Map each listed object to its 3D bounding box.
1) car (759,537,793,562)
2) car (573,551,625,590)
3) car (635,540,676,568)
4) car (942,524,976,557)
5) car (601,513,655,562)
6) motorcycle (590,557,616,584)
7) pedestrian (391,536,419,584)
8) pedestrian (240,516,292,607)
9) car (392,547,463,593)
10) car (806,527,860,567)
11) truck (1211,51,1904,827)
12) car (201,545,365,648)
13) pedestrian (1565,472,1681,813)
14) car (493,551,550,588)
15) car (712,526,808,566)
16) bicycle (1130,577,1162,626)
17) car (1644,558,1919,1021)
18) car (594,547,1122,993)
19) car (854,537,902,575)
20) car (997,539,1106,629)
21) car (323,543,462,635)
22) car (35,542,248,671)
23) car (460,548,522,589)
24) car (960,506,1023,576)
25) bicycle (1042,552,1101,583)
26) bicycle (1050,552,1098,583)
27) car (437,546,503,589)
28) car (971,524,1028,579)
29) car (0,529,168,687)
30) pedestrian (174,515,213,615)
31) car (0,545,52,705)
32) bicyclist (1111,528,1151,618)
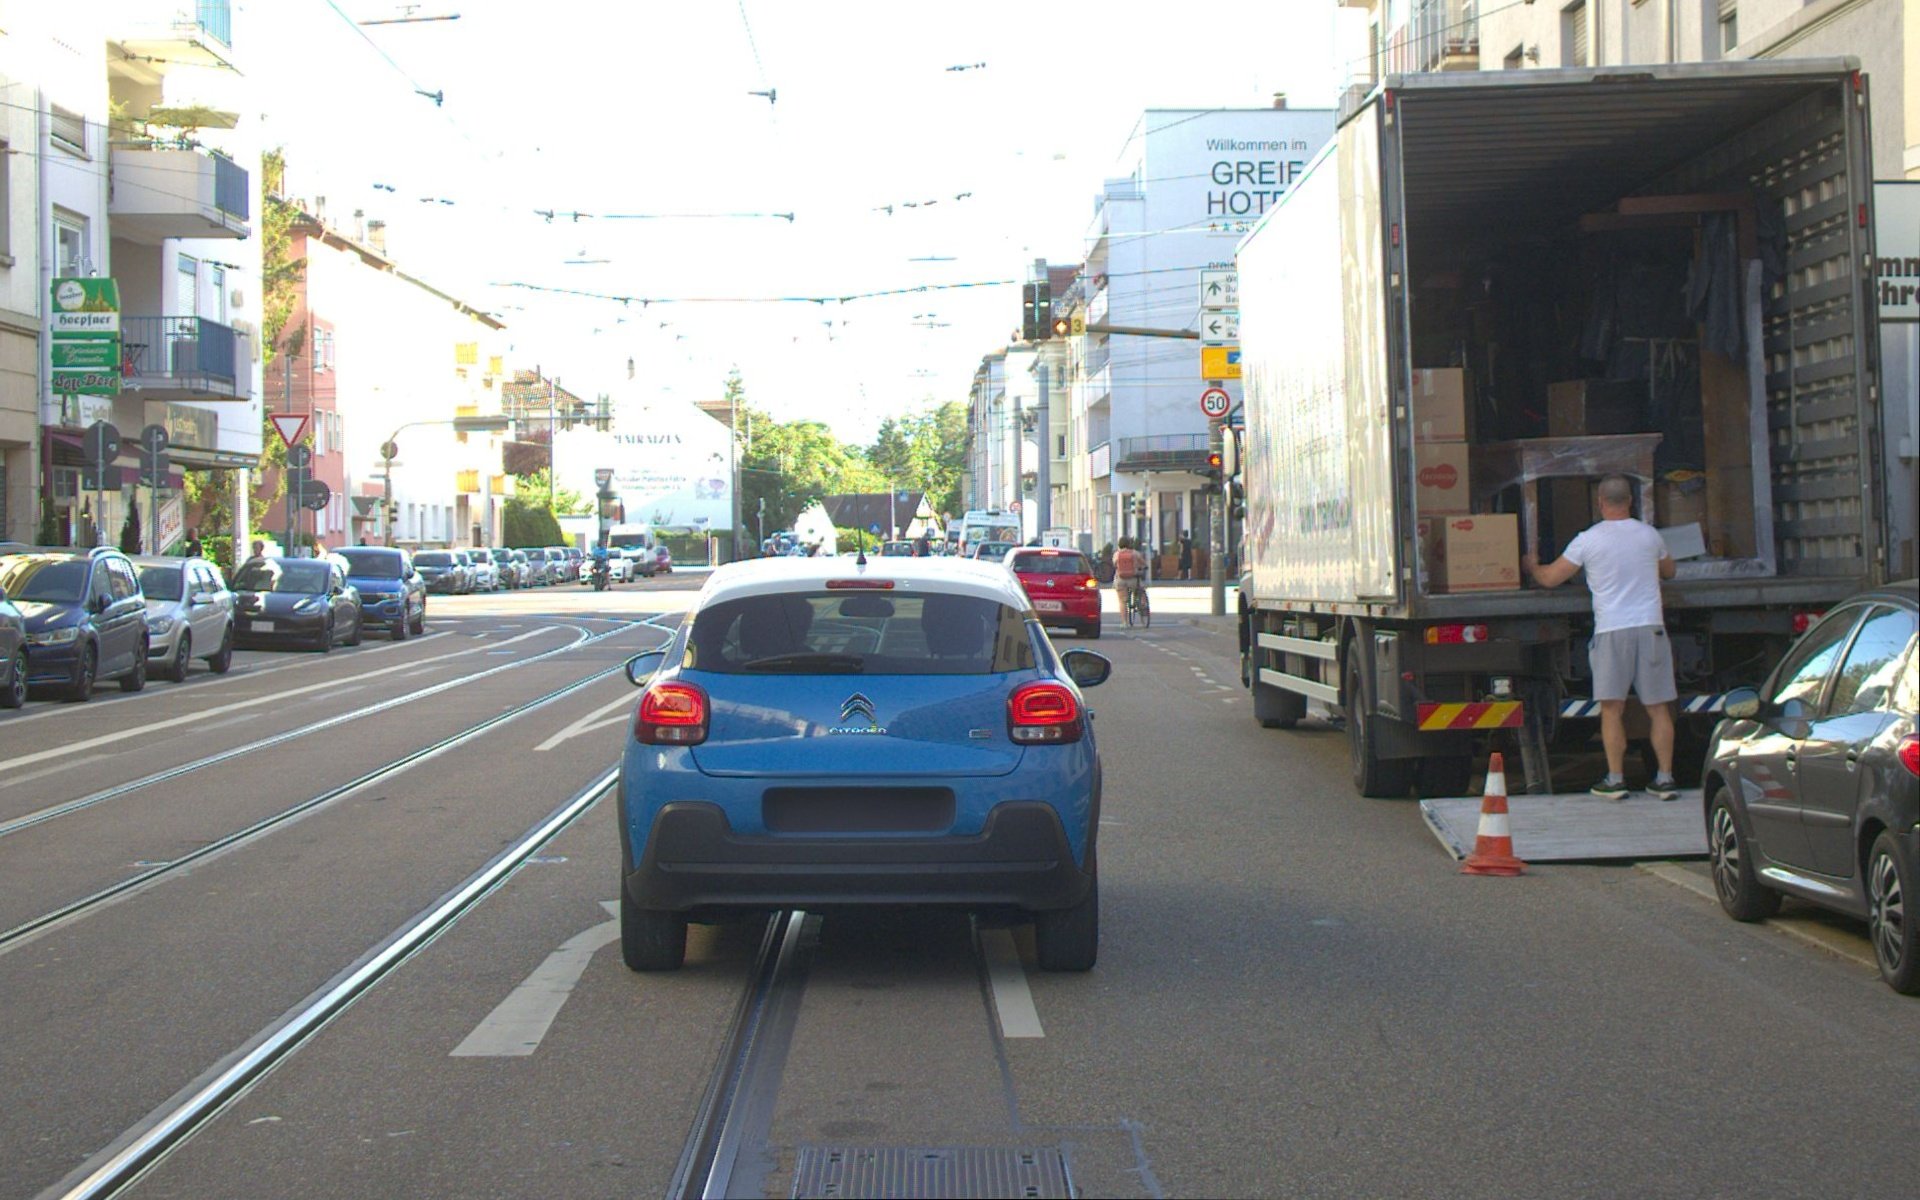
[{"bbox_3d":[-11.405,-3.119,213.591,2.021,1.520,4.000,0,1,-2],"label":"car"},{"bbox_3d":[-14.922,-1.249,142.386,1.849,1.568,4.401,0,1,-2],"label":"car"},{"bbox_3d":[-16.725,-2.557,189.085,2.021,1.520,4.000,0,1,-2],"label":"car"},{"bbox_3d":[-0.042,-3.022,175.107,1.689,1.612,4.000,1,1,0],"label":"car"},{"bbox_3d":[-15.763,-2.973,163.386,2.207,2.243,4.677,0,1,-1],"label":"car"},{"bbox_3d":[-11.563,-0.959,111.358,0.615,0.861,1.671,0,1,3],"label":"motorcycle"},{"bbox_3d":[-19.751,-1.434,122.328,0.844,1.684,0.737,0,1,5],"label":"pedestrian"},{"bbox_3d":[-11.961,-0.669,59.253,0.697,1.543,0.721,0,2,3],"label":"pedestrian"},{"bbox_3d":[-17.516,-0.999,113.213,1.911,1.428,4.001,-1,1,-3],"label":"car"},{"bbox_3d":[-4.952,-2.085,134.453,1.993,1.503,4.000,0,1,-1],"label":"car"},{"bbox_3d":[3.588,-0.963,24.062,2.860,4.059,11.779,-1,1,1],"label":"truck"},{"bbox_3d":[-10.476,-0.064,53.446,1.699,1.504,4.312,1,0,0],"label":"car"},{"bbox_3d":[3.491,0.217,18.115,0.512,1.769,0.416,-1,1,0],"label":"pedestrian"},{"bbox_3d":[-18.110,-1.278,142.123,1.911,1.492,4.000,0,1,-2],"label":"car"},{"bbox_3d":[-8.284,-2.232,141.987,1.809,1.634,3.998,-2,1,-43],"label":"car"},{"bbox_3d":[3.433,0.024,63.457,0.498,0.861,1.749,0,1,0],"label":"bicycle"},{"bbox_3d":[3.864,0.594,13.141,1.582,1.458,3.881,-2,1,-2],"label":"car"},{"bbox_3d":[-0.463,0.542,13.494,1.743,1.457,4.001,1,1,-4],"label":"car"},{"bbox_3d":[-3.521,-1.906,148.253,1.993,1.612,4.000,1,1,-1],"label":"car"},{"bbox_3d":[1.537,-0.291,56.849,1.738,1.415,4.000,0,1,2],"label":"car"},{"bbox_3d":[-9.845,-0.195,59.847,1.744,1.504,4.000,1,0,0],"label":"car"},{"bbox_3d":[-10.249,0.061,43.319,1.699,1.504,4.387,1,0,-1],"label":"car"},{"bbox_3d":[-17.782,-1.218,130.380,1.911,1.492,4.000,0,1,-2],"label":"car"},{"bbox_3d":[1.032,-1.976,115.868,1.993,2.317,4.000,1,1,-1],"label":"car"},{"bbox_3d":[3.583,-1.042,110.352,1.874,0.953,0.701,0,1,4],"label":"bicycle"},{"bbox_3d":[3.632,-1.027,109.288,1.504,0.953,0.701,0,1,4],"label":"bicycle"},{"bbox_3d":[-17.601,-1.188,123.580,1.911,1.492,4.000,0,1,-2],"label":"car"},{"bbox_3d":[1.268,-1.566,110.939,1.732,1.744,3.214,1,1,-1],"label":"car"},{"bbox_3d":[-10.016,0.055,37.653,1.699,1.610,4.244,1,0,0],"label":"car"},{"bbox_3d":[-15.519,-0.713,69.645,0.686,2.007,0.486,0,1,-3],"label":"pedestrian"},{"bbox_3d":[-10.196,0.227,33.379,1.699,1.563,4.000,1,0,0],"label":"car"},{"bbox_3d":[3.144,-0.500,63.384,0.726,1.640,0.790,0,1,2],"label":"bicyclist"}]
